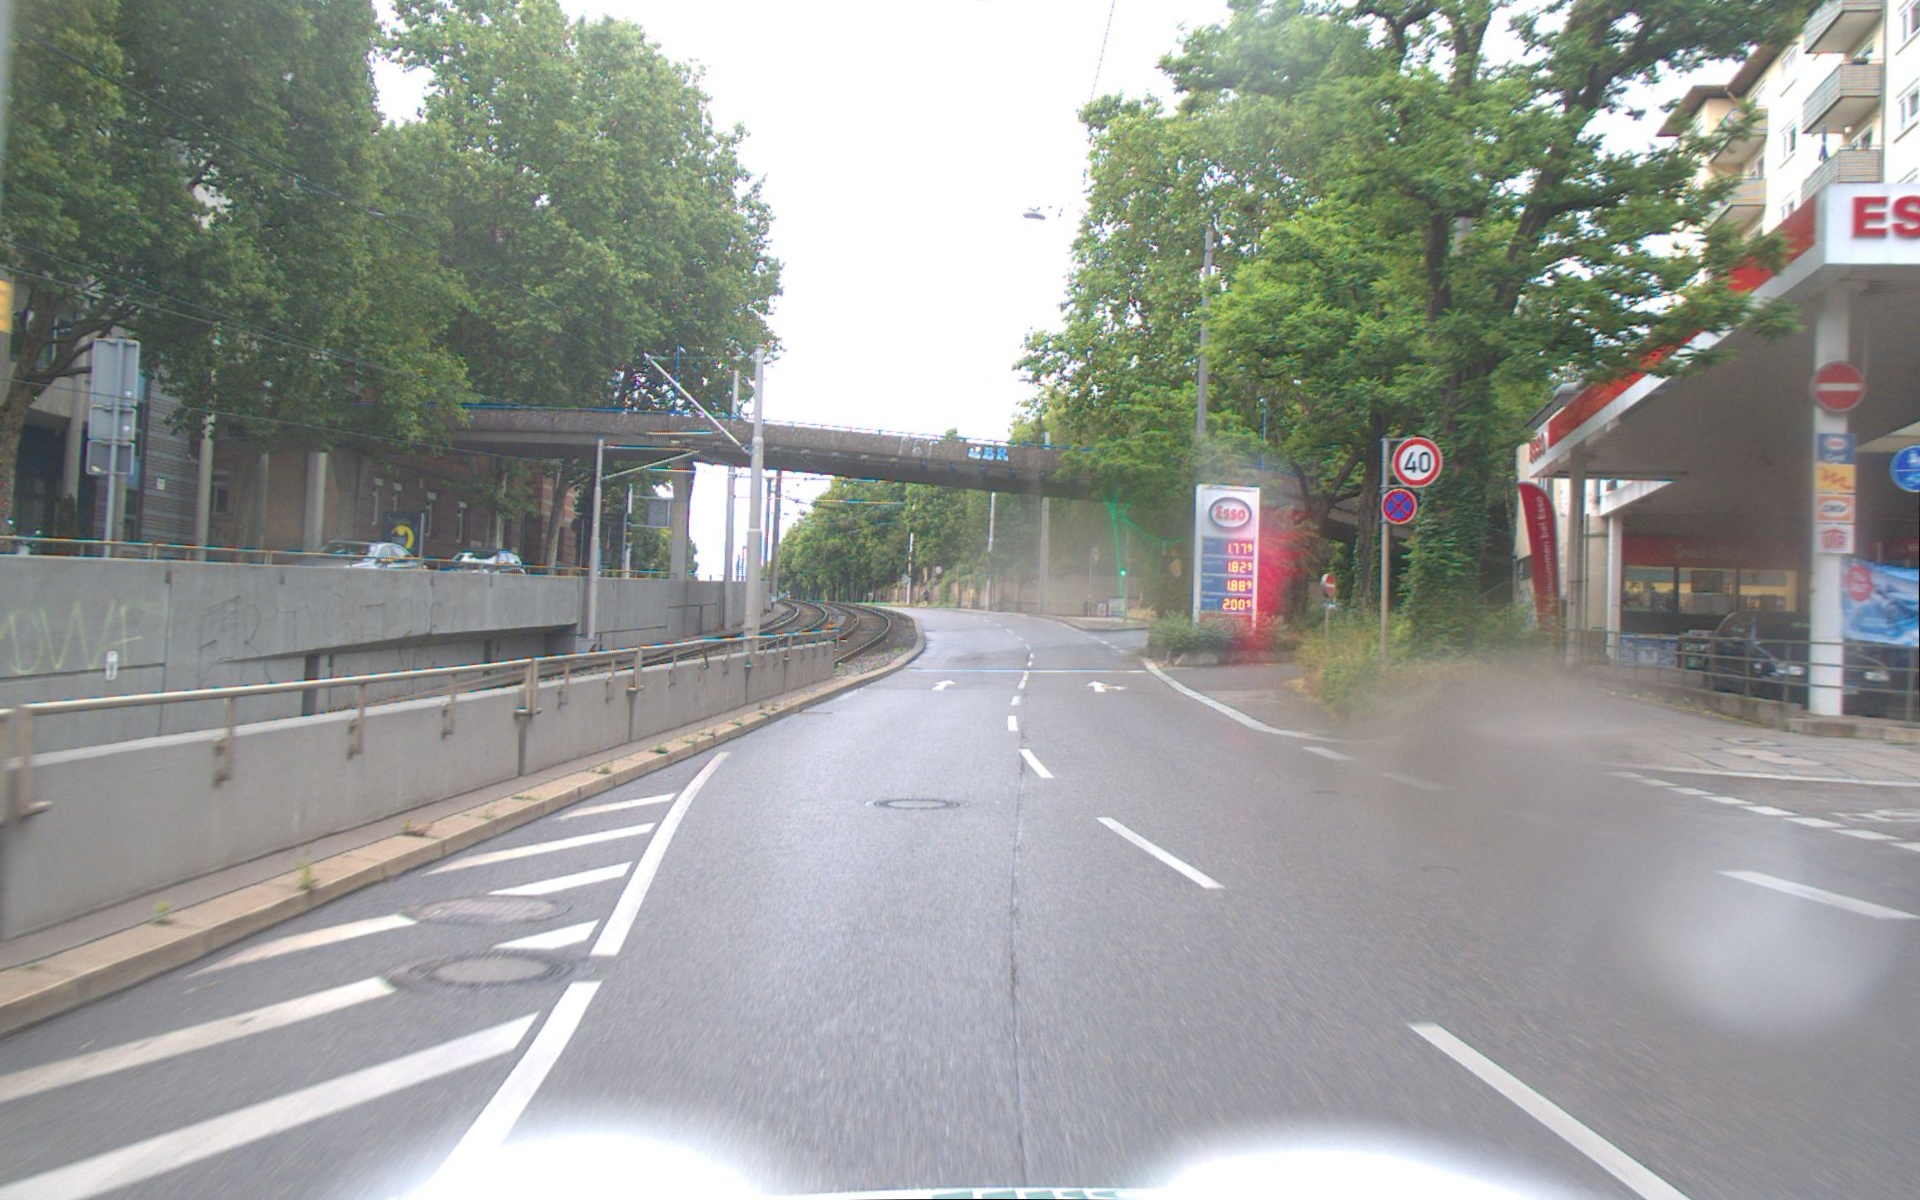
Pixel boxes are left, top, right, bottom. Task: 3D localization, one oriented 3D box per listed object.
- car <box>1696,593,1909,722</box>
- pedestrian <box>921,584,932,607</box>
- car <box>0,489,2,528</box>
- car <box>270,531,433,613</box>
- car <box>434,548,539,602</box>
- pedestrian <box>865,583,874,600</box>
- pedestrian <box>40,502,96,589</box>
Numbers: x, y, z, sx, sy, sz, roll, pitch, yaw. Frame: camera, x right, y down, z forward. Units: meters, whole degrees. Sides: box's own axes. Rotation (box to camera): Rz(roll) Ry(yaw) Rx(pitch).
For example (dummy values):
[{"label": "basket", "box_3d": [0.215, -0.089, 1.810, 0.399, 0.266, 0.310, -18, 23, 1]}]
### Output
[{"label": "car", "box_3d": [11.738, 0.770, 23.307, 1.734, 1.652, 3.869, 0, -1, 12]}, {"label": "pedestrian", "box_3d": [-2.789, -0.390, 138.392, 0.706, 1.882, 0.781, 3, -1, -9]}, {"label": "car", "box_3d": [-17.079, -0.953, 24.964, 1.915, 1.884, 4.971, 4, 0, 5]}, {"label": "car", "box_3d": [-12.833, -0.572, 35.152, 1.757, 1.536, 4.001, 4, 0, 2]}, {"label": "car", "box_3d": [-14.900, -0.760, 52.244, 1.757, 1.536, 4.110, 4, 0, 5]}, {"label": "pedestrian", "box_3d": [-9.275, -0.864, 169.554, 0.706, 1.716, 0.727, 3, -1, -9]}, {"label": "pedestrian", "box_3d": [-21.969, -1.327, 40.747, 0.655, 2.048, 0.935, 4, -1, 6]}]
